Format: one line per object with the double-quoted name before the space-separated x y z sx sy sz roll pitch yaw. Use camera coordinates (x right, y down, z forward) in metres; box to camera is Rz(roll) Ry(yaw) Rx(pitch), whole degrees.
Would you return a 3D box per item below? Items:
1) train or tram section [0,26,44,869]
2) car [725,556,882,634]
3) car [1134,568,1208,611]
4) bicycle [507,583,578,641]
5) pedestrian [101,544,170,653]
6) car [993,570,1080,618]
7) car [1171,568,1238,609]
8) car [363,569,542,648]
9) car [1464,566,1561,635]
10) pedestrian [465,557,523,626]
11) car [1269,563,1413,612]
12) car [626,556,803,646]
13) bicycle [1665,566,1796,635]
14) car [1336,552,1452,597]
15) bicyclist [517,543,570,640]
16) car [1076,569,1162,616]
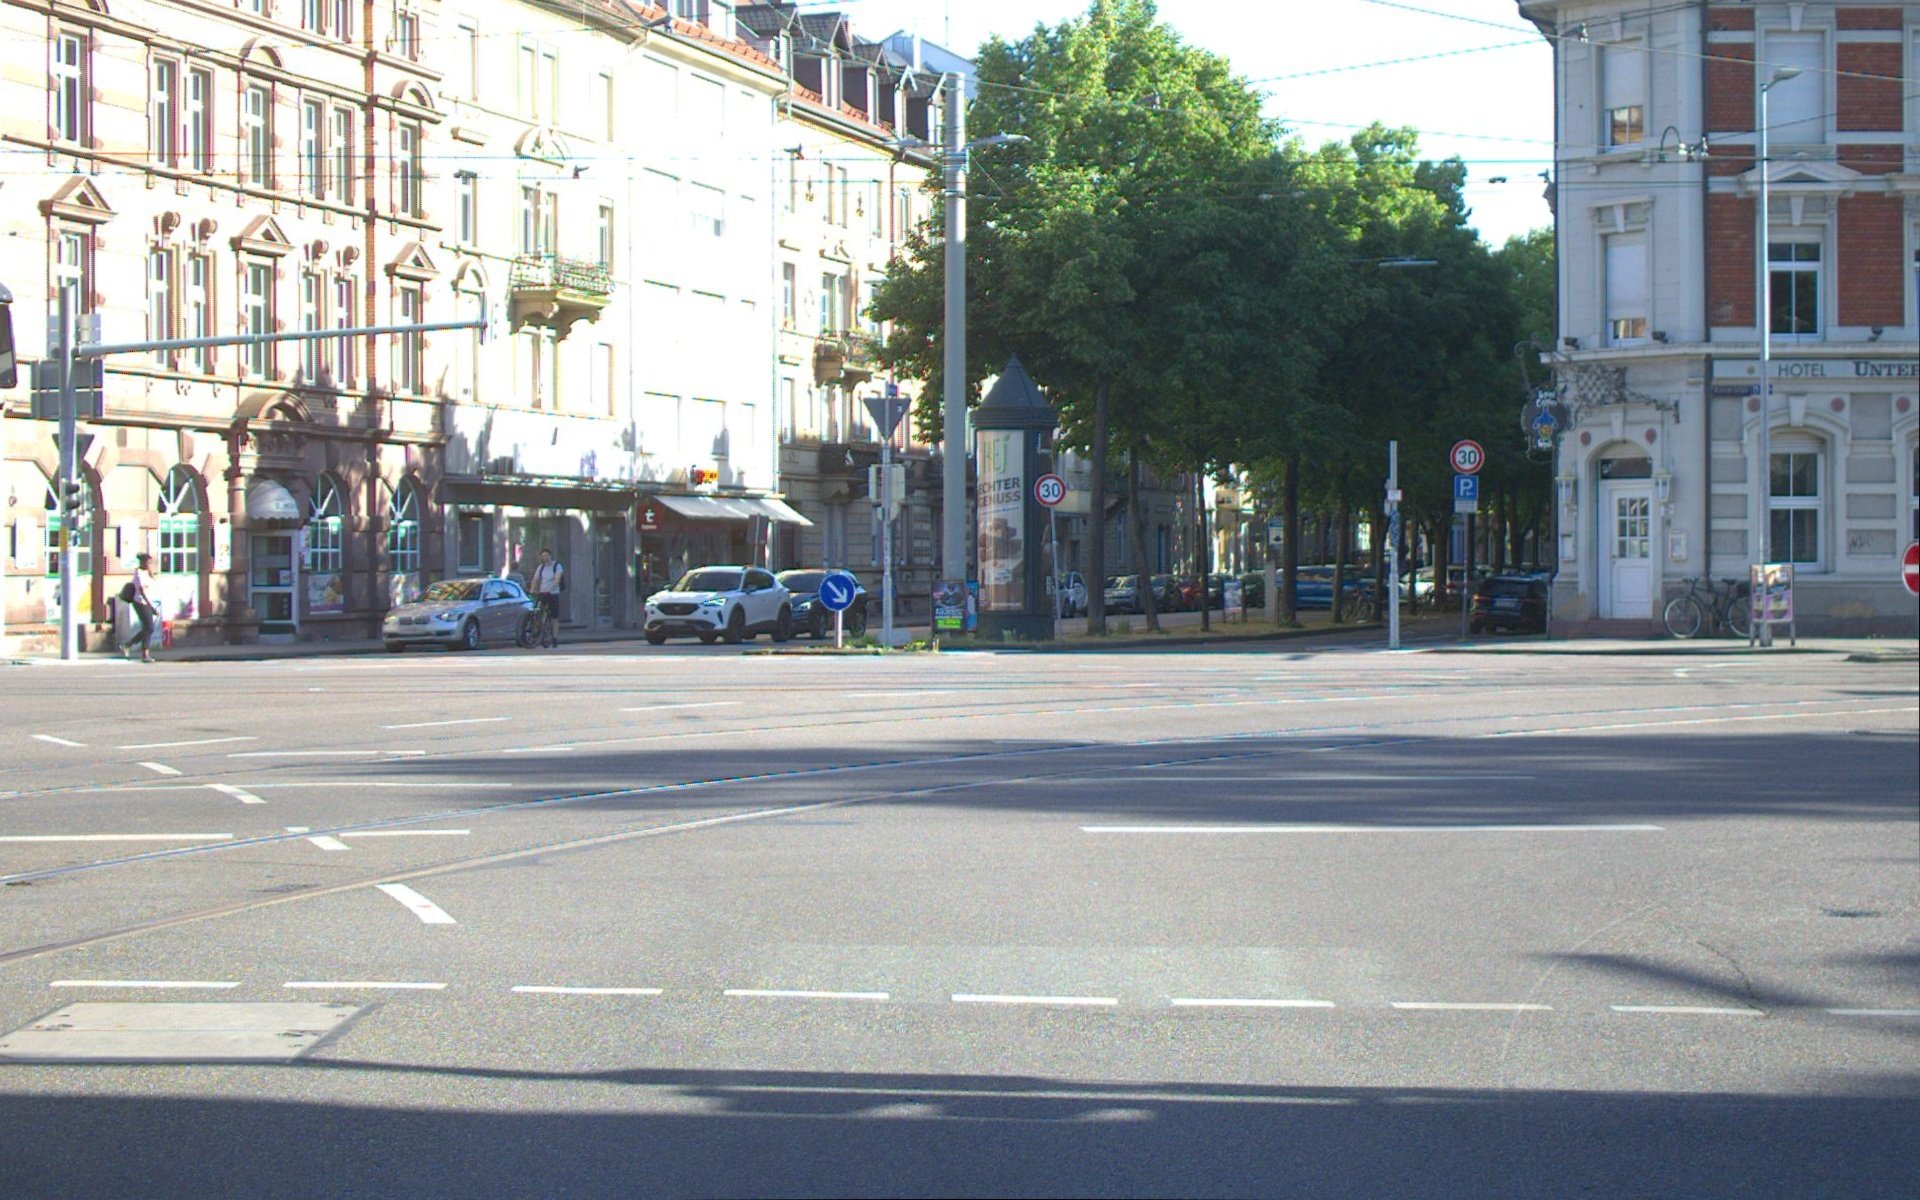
"train or tram section" -5.220 -0.522 8.871 2.770 3.488 12.031 0 1 -1
"car" -3.317 -0.132 73.833 1.995 1.606 4.387 0 1 17
"car" 8.033 -0.410 130.449 1.839 1.547 4.387 0 1 17
"bicycle" -7.888 0.219 65.005 0.680 1.062 2.124 0 1 12
"pedestrian" -13.302 -0.035 55.500 1.046 1.738 0.809 0 1 -11
"car" 2.486 -0.216 110.957 1.995 1.481 3.998 0 1 14
"car" 9.699 -0.458 136.326 1.766 1.544 4.387 0 1 16
"car" -9.851 0.151 67.044 1.900 1.450 3.997 0 1 17
"car" 13.270 -0.005 82.436 1.995 1.579 3.998 0 1 14
"pedestrian" -10.430 -0.201 76.940 0.929 1.530 1.136 0 1 14
"car" 12.780 -0.430 115.334 4.382 1.606 1.997 0 1 27
"car" -4.763 -0.015 67.319 1.995 1.678 4.387 0 1 17
"bicycle" 12.858 0.013 57.384 2.085 1.120 0.367 1 0 -4
"car" 16.861 -1.004 133.619 3.993 1.700 1.997 0 1 30
"bicyclist" -7.877 -0.161 65.041 0.679 1.814 1.070 0 1 12
"car" 5.706 -0.291 122.659 1.995 1.607 4.387 0 1 17
